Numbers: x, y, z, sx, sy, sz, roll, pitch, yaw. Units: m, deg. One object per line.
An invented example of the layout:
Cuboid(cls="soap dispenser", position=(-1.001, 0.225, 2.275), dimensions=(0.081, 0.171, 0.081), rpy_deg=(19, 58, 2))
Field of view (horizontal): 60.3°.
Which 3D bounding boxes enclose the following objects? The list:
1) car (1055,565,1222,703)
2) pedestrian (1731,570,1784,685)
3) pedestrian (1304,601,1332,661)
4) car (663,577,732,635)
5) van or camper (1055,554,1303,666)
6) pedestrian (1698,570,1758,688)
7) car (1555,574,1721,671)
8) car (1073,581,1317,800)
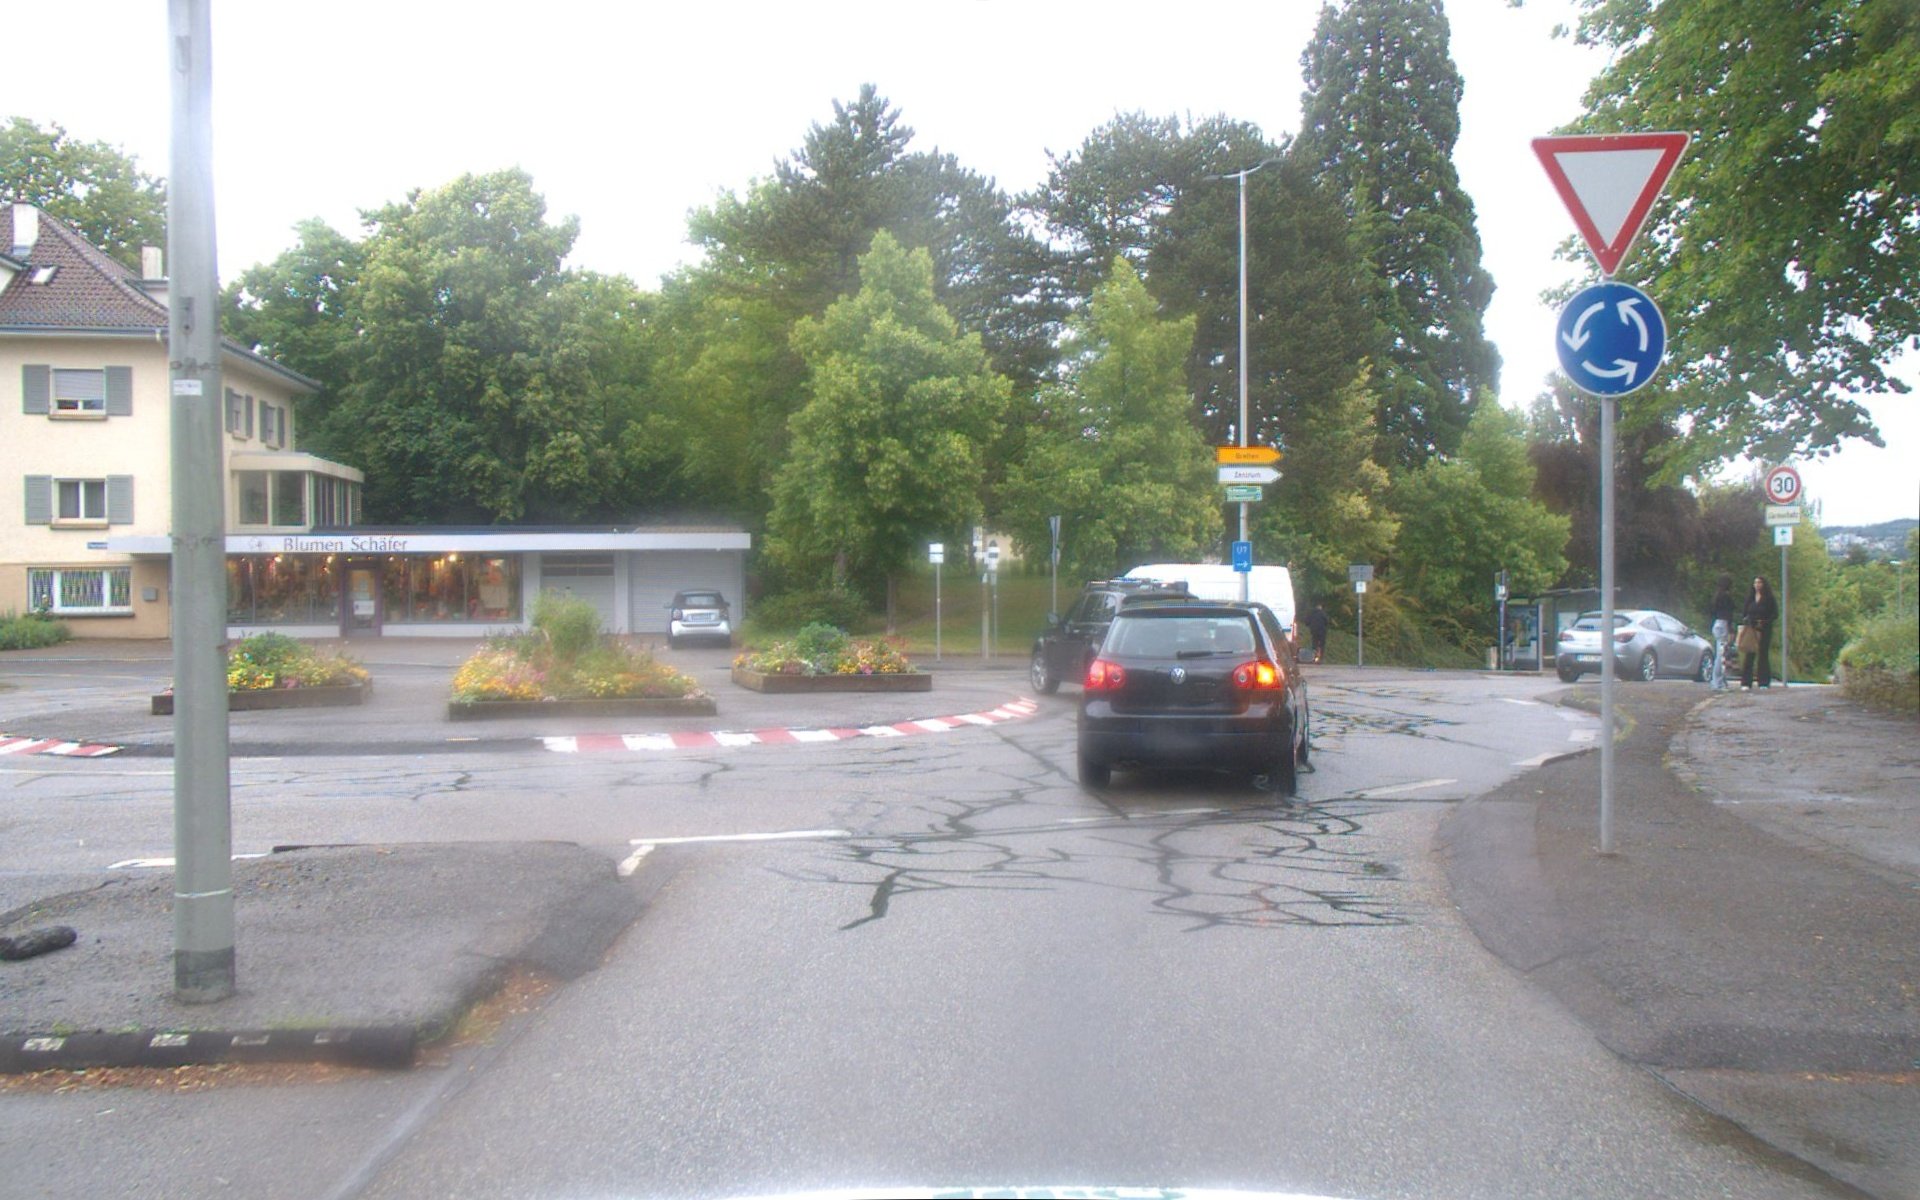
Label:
Cuboid(cls="car", position=(2.573, 0.476, 24.806), dimensions=(1.730, 1.833, 4.242), rpy_deg=(-2, 0, -4))
Cuboid(cls="pedestrian", position=(12.260, 0.420, 25.432), dimensions=(0.620, 1.743, 0.530), rpy_deg=(1, -1, 14))
Cuboid(cls="pedestrian", position=(10.684, 0.912, 49.328), dimensions=(0.722, 1.756, 0.817), rpy_deg=(1, -1, 18))
Cuboid(cls="car", position=(-7.359, 0.160, 46.309), dimensions=(1.779, 1.512, 3.822), rpy_deg=(-2, 0, -9))
Cuboid(cls="van or camper", position=(5.107, 0.266, 38.308), dimensions=(5.593, 2.420, 2.178), rpy_deg=(1, -1, -31))
Cuboid(cls="pedestrian", position=(11.558, 0.431, 24.900), dimensions=(0.520, 1.743, 0.633), rpy_deg=(1, -1, -17))
Cuboid(cls="car", position=(13.876, 0.434, 33.732), dimensions=(1.740, 1.833, 4.219), rpy_deg=(-2, 0, 43))
Cuboid(cls="car", position=(2.145, 0.648, 14.164), dimensions=(1.727, 1.565, 4.003), rpy_deg=(1, 0, 13))
